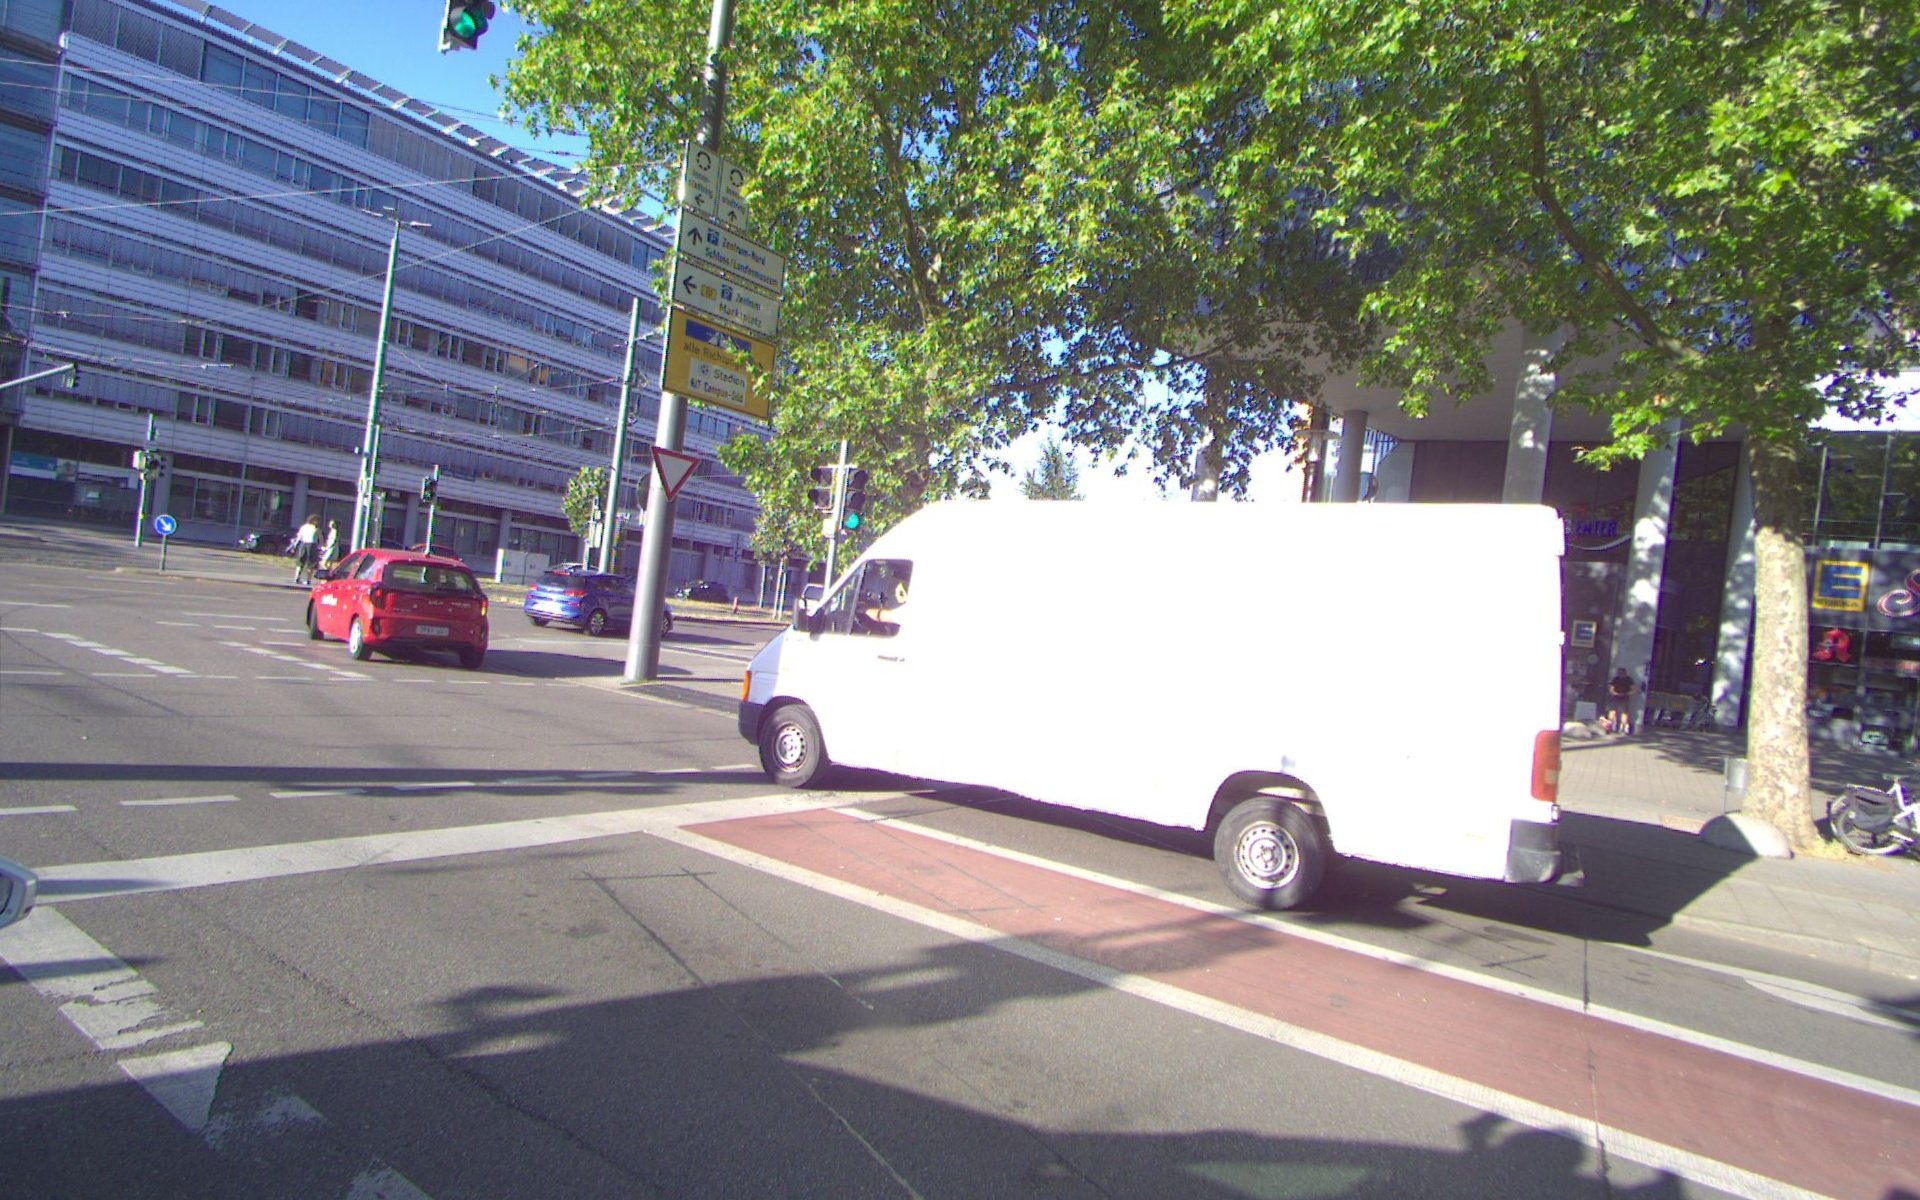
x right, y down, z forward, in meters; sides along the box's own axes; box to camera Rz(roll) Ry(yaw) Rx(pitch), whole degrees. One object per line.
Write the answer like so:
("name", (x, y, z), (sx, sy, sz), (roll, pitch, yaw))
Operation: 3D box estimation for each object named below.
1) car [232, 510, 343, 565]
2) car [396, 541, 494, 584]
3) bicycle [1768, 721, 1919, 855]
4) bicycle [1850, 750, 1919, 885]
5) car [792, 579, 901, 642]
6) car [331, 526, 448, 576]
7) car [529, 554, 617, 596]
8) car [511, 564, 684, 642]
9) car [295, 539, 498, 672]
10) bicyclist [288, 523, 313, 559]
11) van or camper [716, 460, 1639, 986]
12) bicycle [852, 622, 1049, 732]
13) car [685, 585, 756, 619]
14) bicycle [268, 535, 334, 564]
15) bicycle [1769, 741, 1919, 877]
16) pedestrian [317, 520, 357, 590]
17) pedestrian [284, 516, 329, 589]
("car", (-33.470, -3.091, 50.168), (1.967, 2.037, 3.995), (6, -2, 32))
("car", (-26.474, -1.921, 51.825), (1.769, 1.569, 3.990), (6, -2, 36))
("bicycle", (11.424, 2.349, 11.090), (3.757, 1.235, 0.727), (10, 1, 38))
("bicycle", (10.205, 2.238, 9.527), (2.514, 1.234, 0.756), (5, -2, 37))
("car", (-4.324, 0.471, 39.090), (1.970, 1.919, 4.884), (7, -1, 21))
("car", (-26.535, -2.265, 46.909), (1.854, 1.744, 4.256), (7, 0, 34))
("car", (-21.039, -1.339, 54.831), (1.852, 1.614, 3.991), (6, -2, 35))
("car", (-8.793, 0.136, 24.826), (1.720, 1.476, 4.216), (7, -1, 16))
("car", (-8.186, 0.031, 14.488), (3.550, 1.476, 1.487), (6, -1, 45))
("bicyclist", (-30.289, -2.704, 46.185), (0.604, 1.521, 0.663), (7, 1, 37))
("van or camper", (1.253, 0.503, 7.890), (6.389, 2.647, 2.002), (7, 0, 31))
("bicycle", (-0.192, 1.127, 15.091), (2.896, 1.252, 0.705), (6, -1, 31))
("car", (-15.370, 0.149, 64.820), (1.852, 1.614, 4.121), (6, -2, 35))
("bicycle", (-30.279, -2.303, 46.273), (0.627, 1.035, 2.410), (7, 0, 36))
("bicycle", (10.876, 2.368, 10.430), (3.759, 1.234, 0.756), (5, -2, 38))
("pedestrian", (-16.712, -1.208, 26.976), (0.734, 1.781, 0.679), (6, 1, -34))
("pedestrian", (-16.949, -1.238, 26.099), (0.732, 1.781, 0.676), (7, 1, 43))
